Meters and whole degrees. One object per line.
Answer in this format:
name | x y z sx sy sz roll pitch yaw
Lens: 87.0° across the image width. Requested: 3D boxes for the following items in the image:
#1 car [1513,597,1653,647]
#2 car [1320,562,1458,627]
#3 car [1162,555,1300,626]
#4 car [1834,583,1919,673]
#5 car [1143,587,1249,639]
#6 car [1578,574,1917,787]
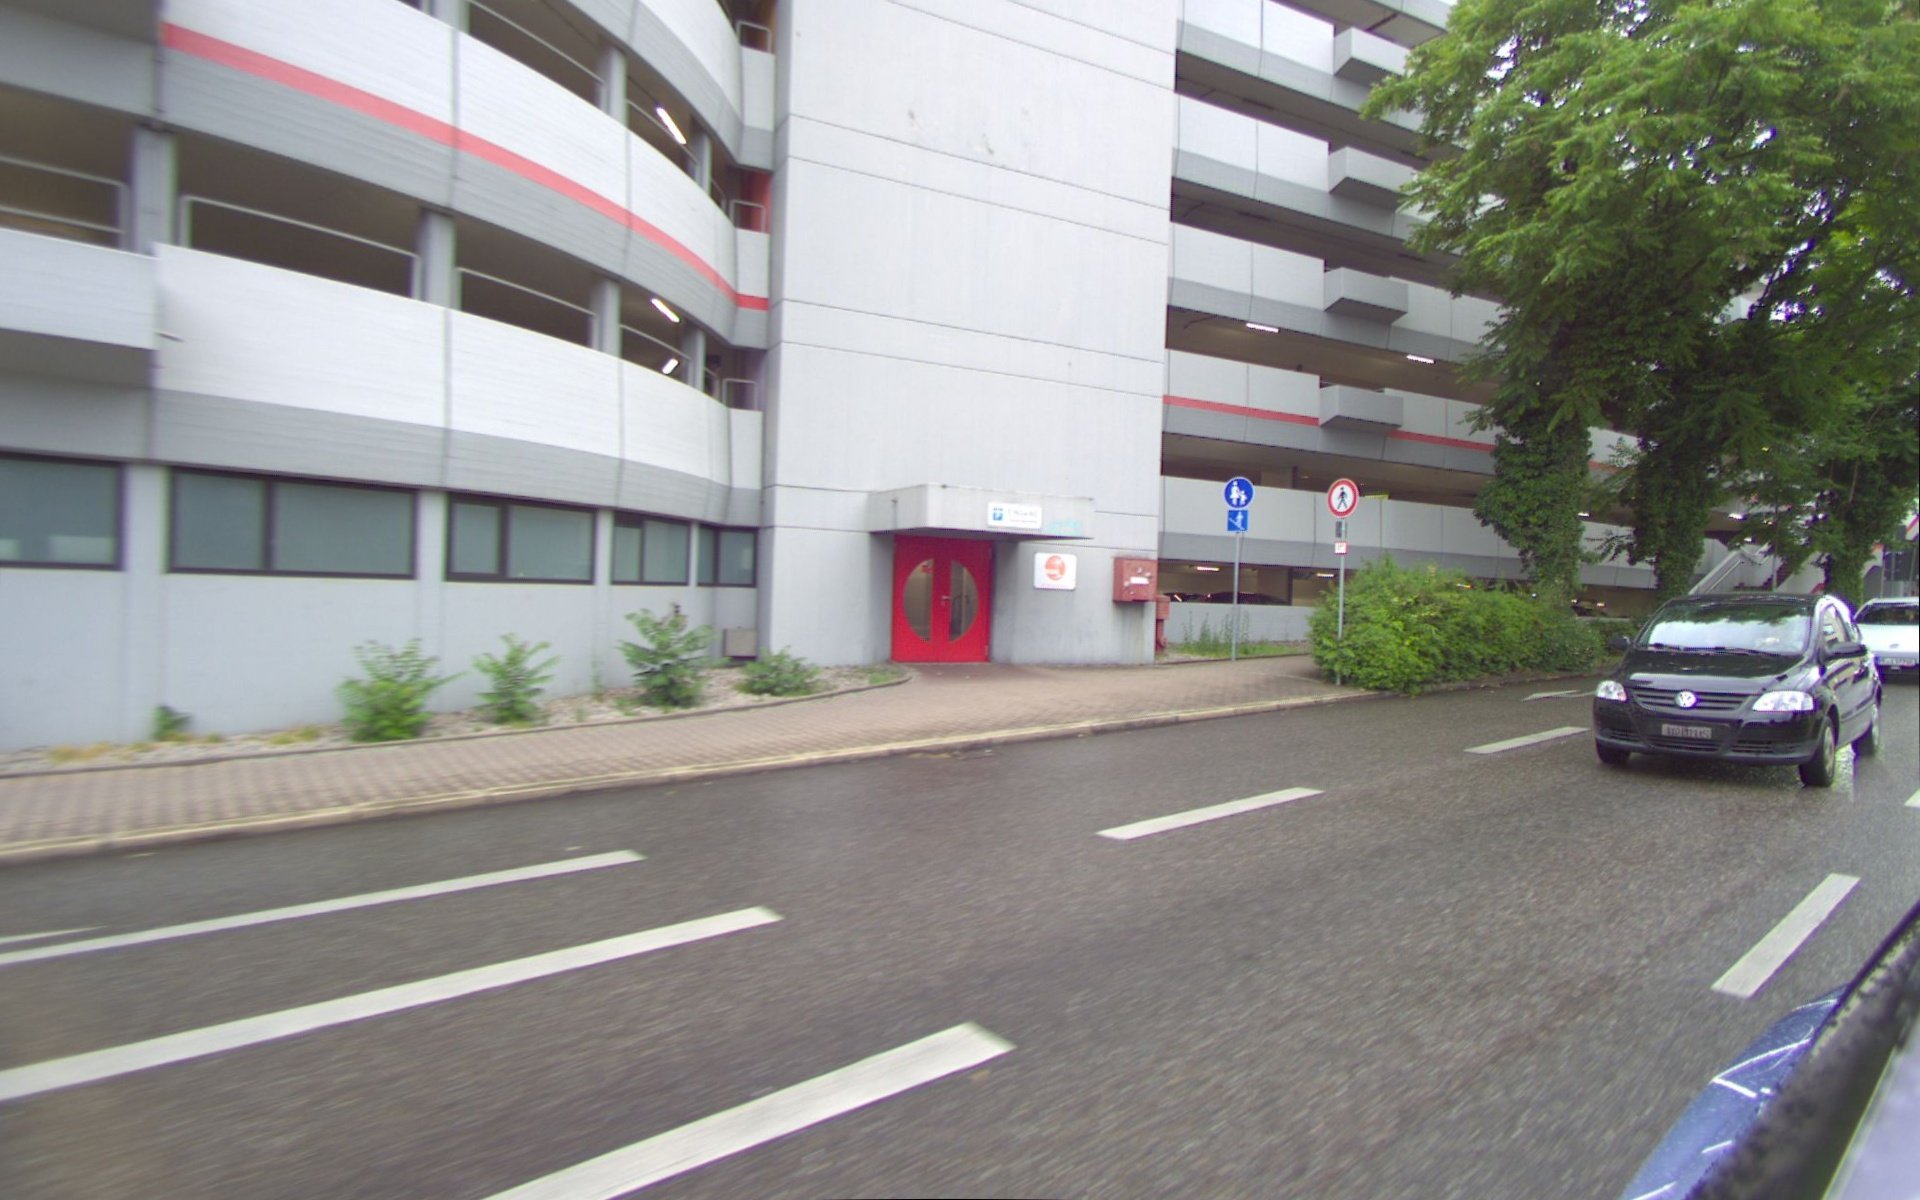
car | 21.848 0.756 35.602 1.775 1.560 3.746 4 -1 -34
car | 12.832 -0.203 30.440 1.779 1.805 3.472 0 1 -27
car | 7.383 -0.297 27.830 1.779 1.805 3.472 0 1 -27
car | 17.484 0.450 18.364 3.967 1.470 1.913 -2 1 -41
car | 8.949 0.452 38.721 1.779 1.805 4.006 0 1 -27
car | 7.321 0.587 9.276 3.919 1.544 1.682 0 0 -40
